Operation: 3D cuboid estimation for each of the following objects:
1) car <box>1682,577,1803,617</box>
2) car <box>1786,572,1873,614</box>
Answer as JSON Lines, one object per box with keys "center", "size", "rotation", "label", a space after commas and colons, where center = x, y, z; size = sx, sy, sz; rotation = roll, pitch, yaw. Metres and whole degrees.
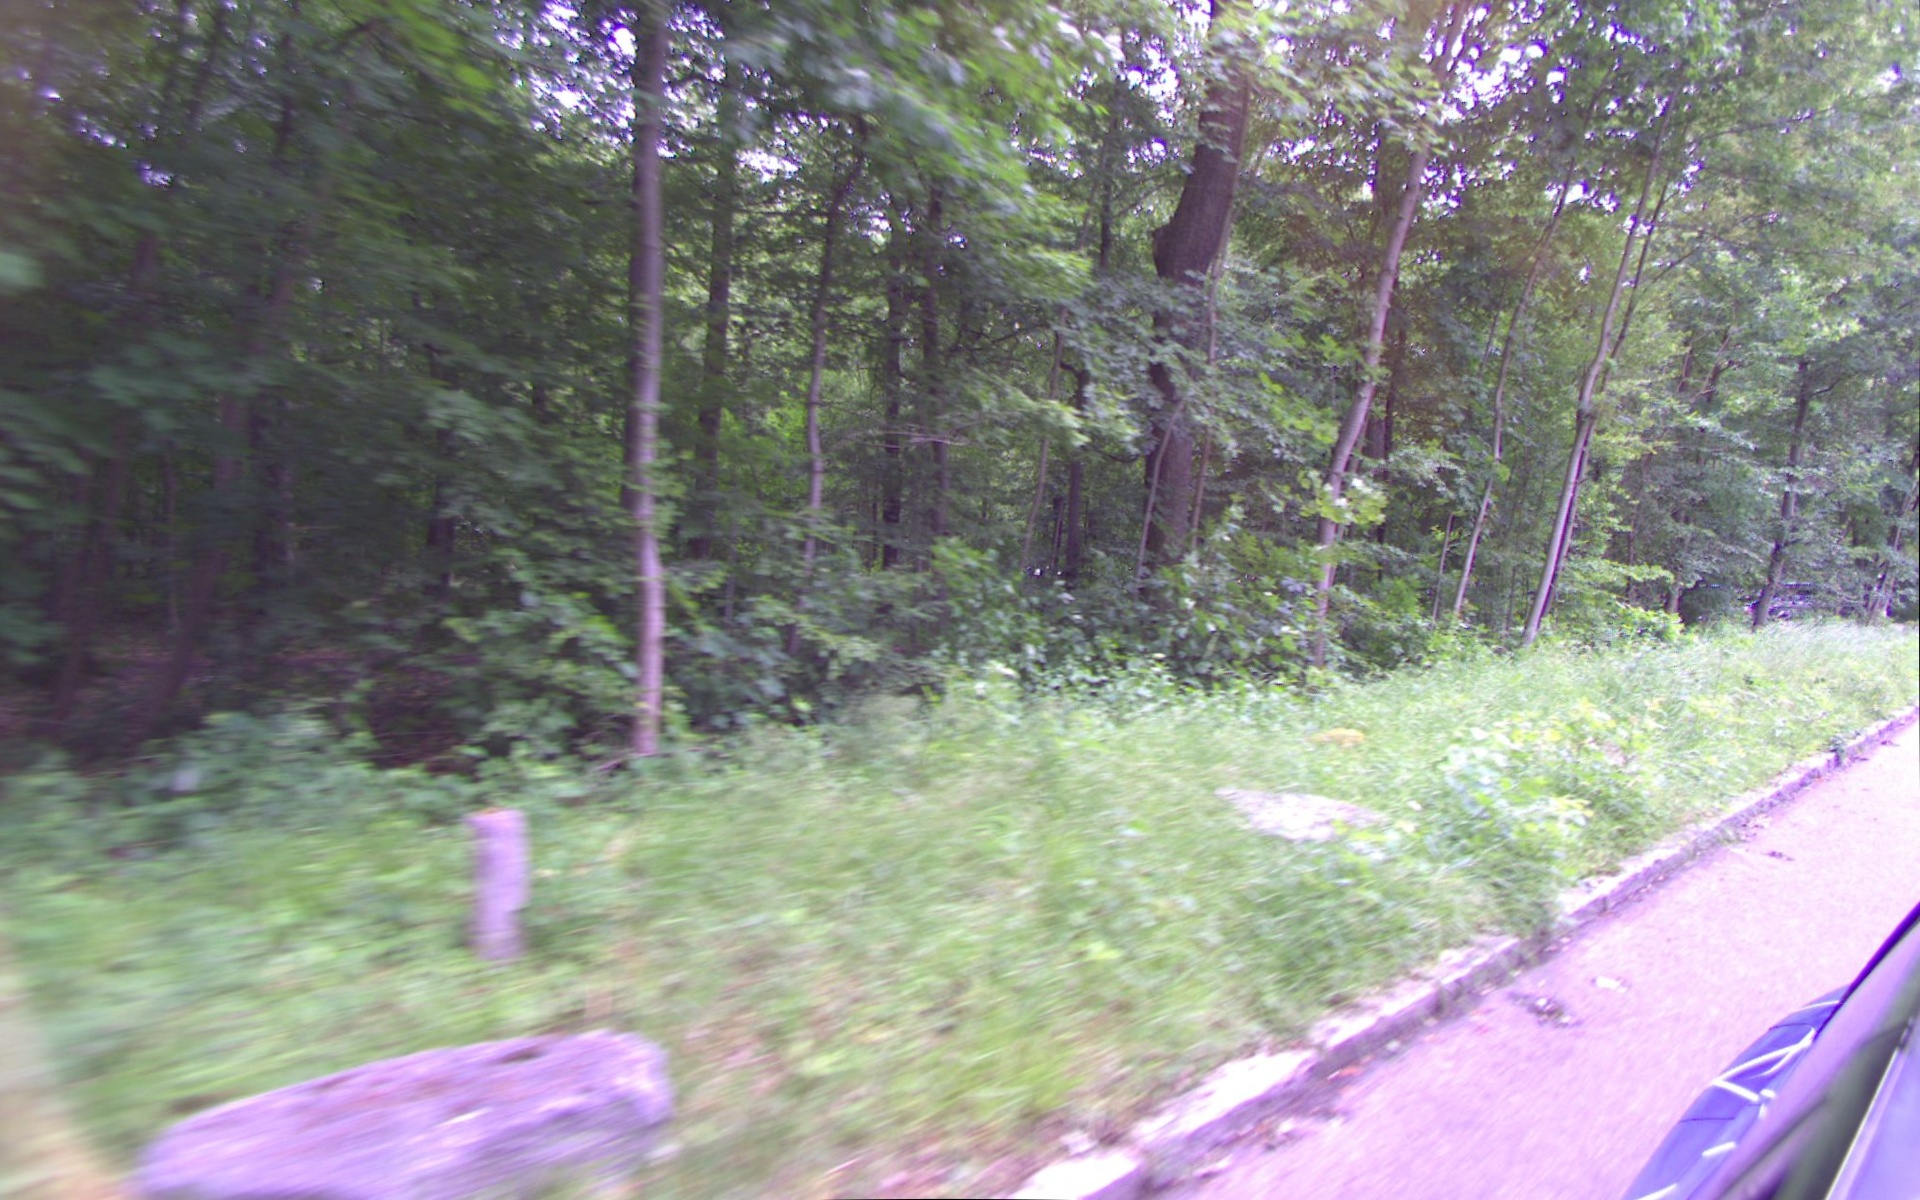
{"center": [36.840, -0.182, 47.731], "size": [1.779, 1.653, 4.105], "rotation": [0, 3, -30], "label": "car"}
{"center": [44.441, -0.368, 51.725], "size": [4.425, 2.002, 1.894], "rotation": [1, 2, -29], "label": "car"}
